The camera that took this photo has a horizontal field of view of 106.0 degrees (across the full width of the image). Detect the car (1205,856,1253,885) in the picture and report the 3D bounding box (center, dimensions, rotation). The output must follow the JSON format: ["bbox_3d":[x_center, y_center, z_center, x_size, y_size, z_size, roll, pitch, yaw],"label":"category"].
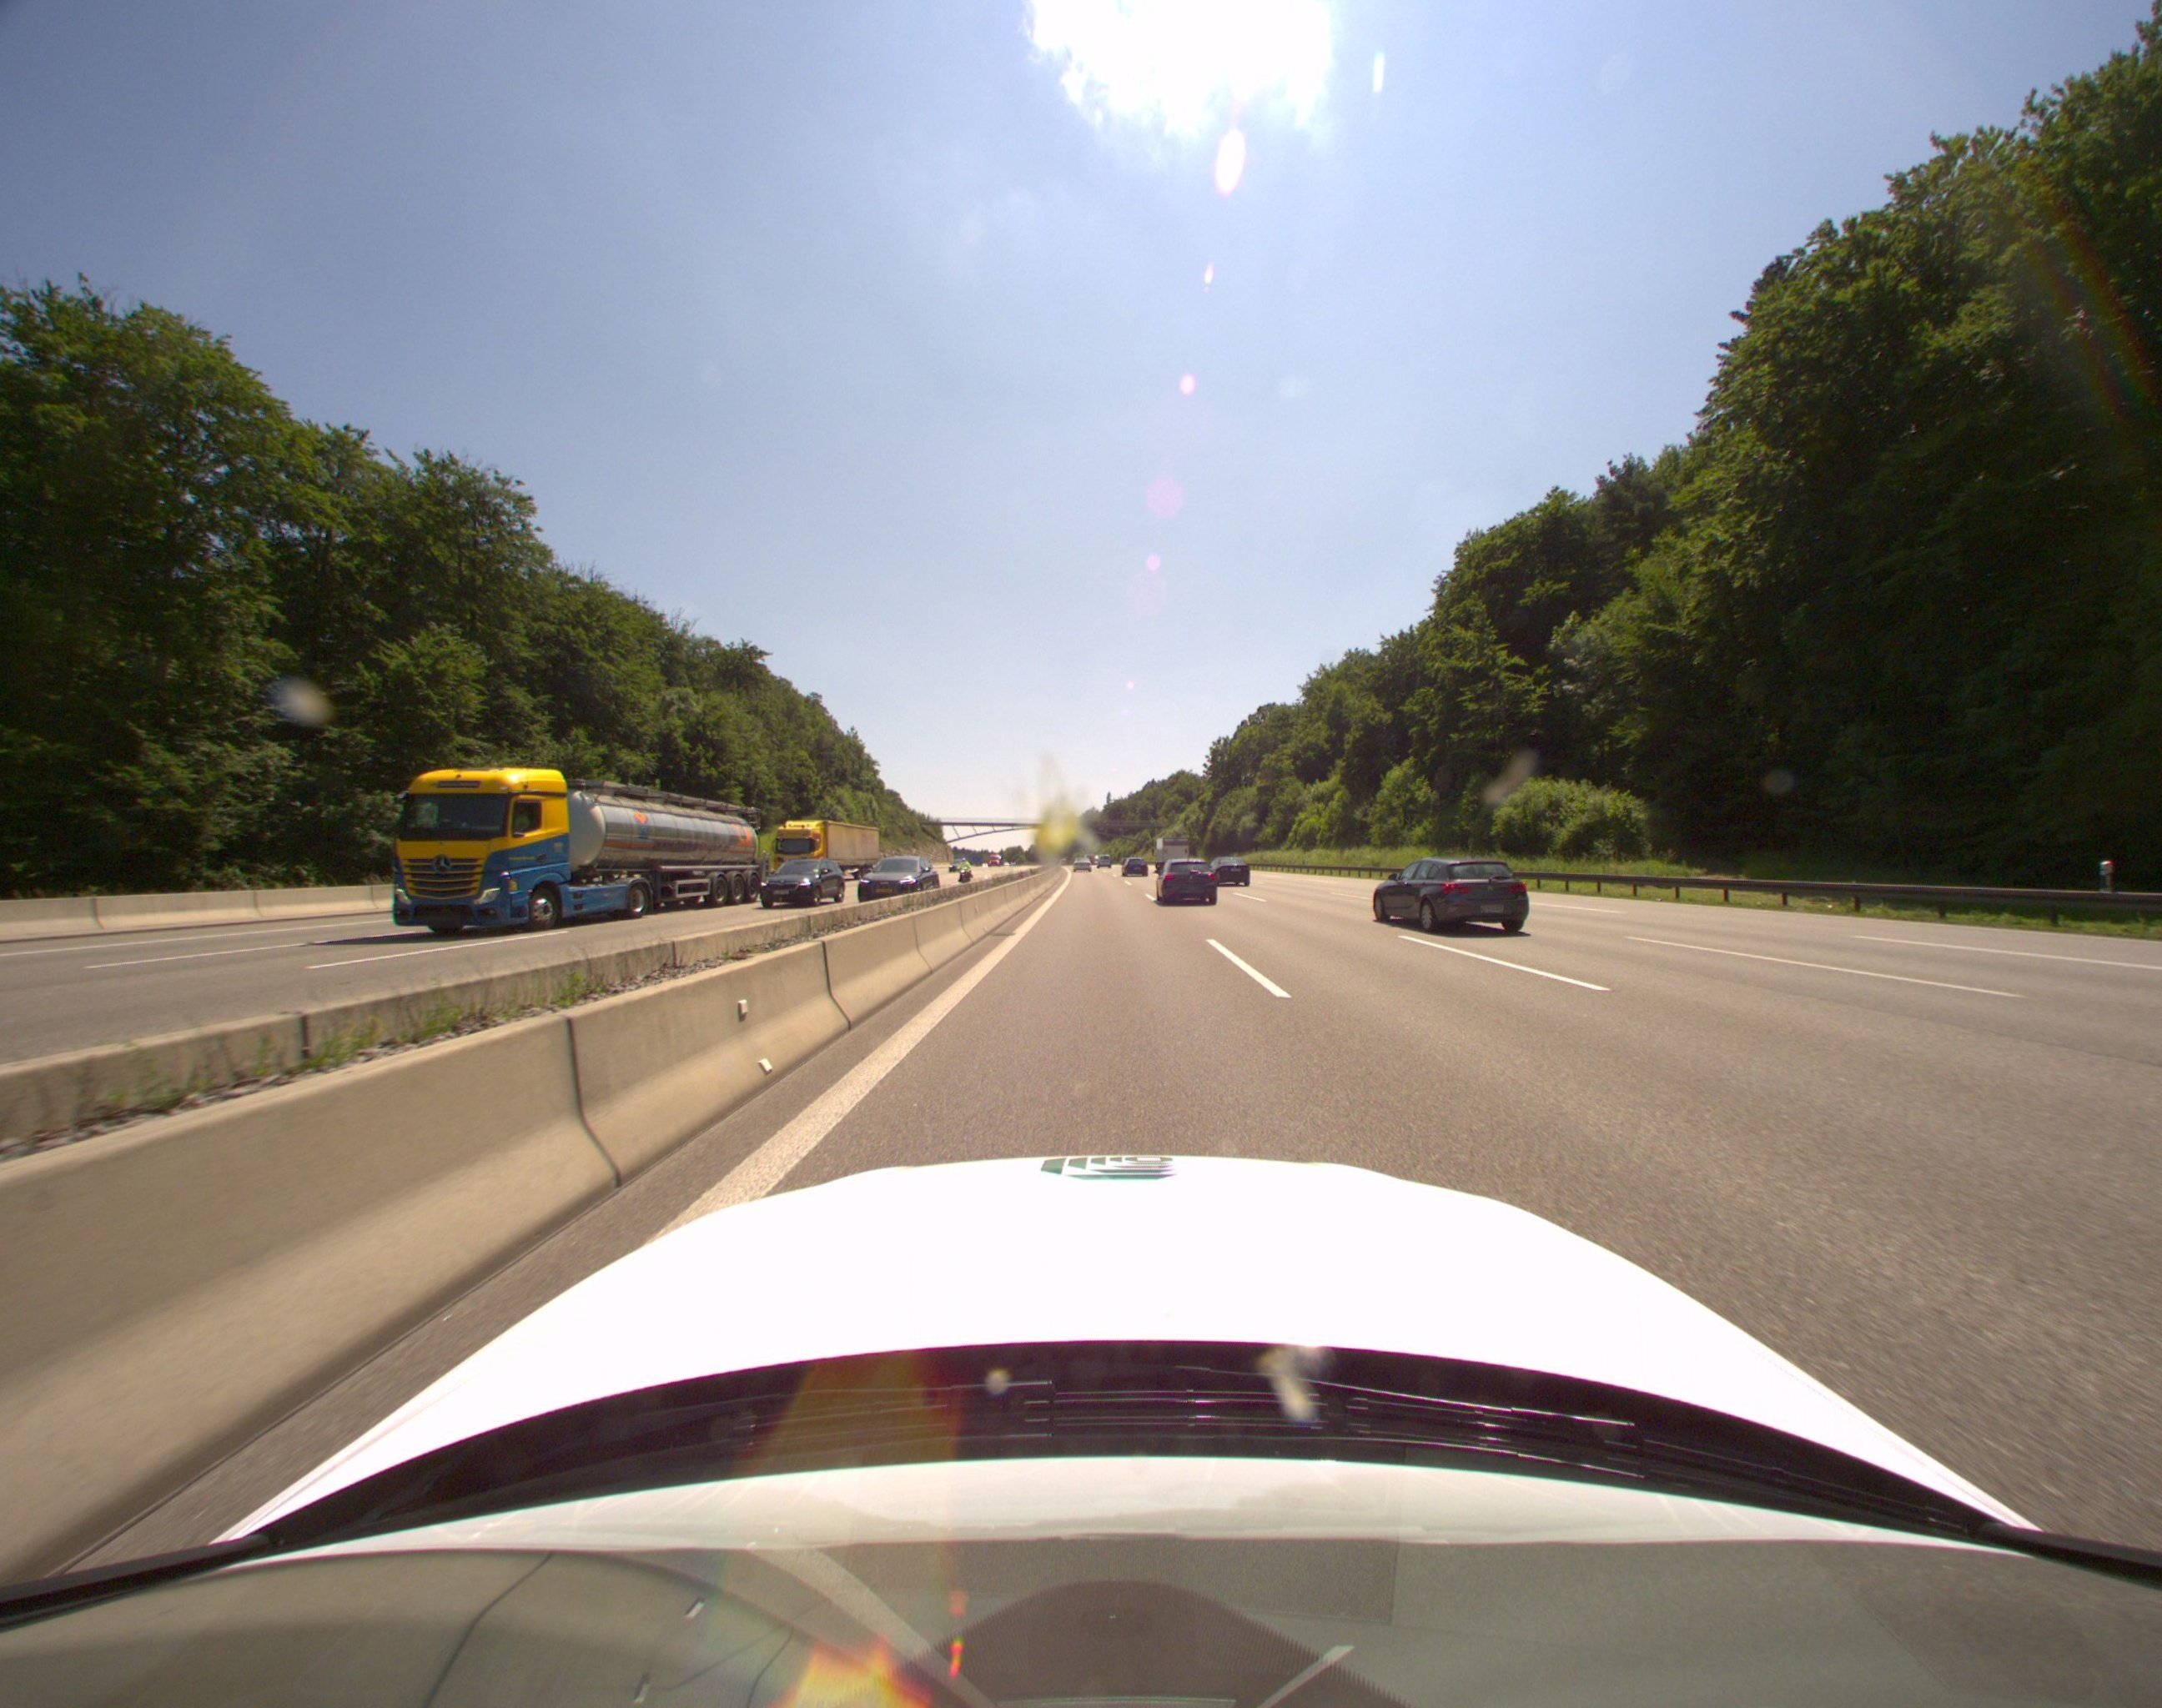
[{"bbox_3d":[7.452,0.791,41.369,1.659,1.408,4.904,-1,0,1],"label":"car"}]

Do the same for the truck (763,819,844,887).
[{"bbox_3d":[-17.632,-0.064,52.235,2.741,4.017,6.753,-1,0,1],"label":"truck"}]

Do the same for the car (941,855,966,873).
[{"bbox_3d":[-13.891,1.108,88.997,1.987,1.872,5.249,0,-1,0],"label":"car"}]

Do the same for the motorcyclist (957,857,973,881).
[{"bbox_3d":[-6.714,0.871,47.105,0.725,1.361,0.906,-1,0,1],"label":"motorcyclist"}]

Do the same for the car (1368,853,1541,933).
[{"bbox_3d":[7.351,0.710,16.518,1.696,1.396,4.155,-1,0,2],"label":"car"}]

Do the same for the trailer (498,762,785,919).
[{"bbox_3d":[-13.106,-0.324,26.157,2.528,3.880,11.699,-1,0,2],"label":"trailer"}]

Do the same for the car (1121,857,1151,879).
[{"bbox_3d":[4.205,1.050,63.055,1.987,1.634,4.758,-1,0,0],"label":"car"}]

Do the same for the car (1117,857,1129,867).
[{"bbox_3d":[7.987,1.539,155.369,2.137,1.858,4.000,0,-1,1],"label":"car"}]

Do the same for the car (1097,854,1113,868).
[{"bbox_3d":[3.275,0.950,112.215,2.097,1.744,4.686,-1,0,0],"label":"car"}]

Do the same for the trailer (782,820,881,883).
[{"bbox_3d":[-17.567,-0.149,58.639,2.713,4.004,13.725,-1,0,1],"label":"trailer"}]

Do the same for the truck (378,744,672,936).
[{"bbox_3d":[-13.251,-0.277,20.314,2.522,3.940,6.803,-1,0,1],"label":"truck"}]

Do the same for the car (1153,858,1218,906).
[{"bbox_3d":[3.365,0.868,26.767,1.702,1.433,4.001,0,0,1],"label":"car"}]

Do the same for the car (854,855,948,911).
[{"bbox_3d":[-5.942,0.894,27.587,1.986,1.705,4.953,-1,0,1],"label":"car"}]

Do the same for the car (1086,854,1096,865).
[{"bbox_3d":[2.304,1.271,185.998,2.257,2.371,4.701,-1,-1,1],"label":"car"}]

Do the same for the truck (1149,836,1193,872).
[{"bbox_3d":[8.310,-0.010,76.060,2.978,3.167,7.569,-1,0,-2],"label":"truck"}]

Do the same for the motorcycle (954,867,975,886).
[{"bbox_3d":[-6.720,1.297,47.085,0.724,1.014,2.528,-1,0,2],"label":"motorcycle"}]

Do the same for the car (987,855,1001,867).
[{"bbox_3d":[-16.394,1.302,153.741,1.987,2.336,5.542,-1,0,0],"label":"car"}]

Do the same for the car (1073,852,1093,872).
[{"bbox_3d":[0.189,0.887,84.678,2.006,1.846,3.998,0,-4,0],"label":"car"}]

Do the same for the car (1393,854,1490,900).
[{"bbox_3d":[12.258,0.744,28.000,1.539,1.444,4.342,0,0,2],"label":"car"}]

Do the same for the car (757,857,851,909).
[{"bbox_3d":[-9.489,0.941,28.230,1.713,1.644,4.062,-1,0,2],"label":"car"}]
